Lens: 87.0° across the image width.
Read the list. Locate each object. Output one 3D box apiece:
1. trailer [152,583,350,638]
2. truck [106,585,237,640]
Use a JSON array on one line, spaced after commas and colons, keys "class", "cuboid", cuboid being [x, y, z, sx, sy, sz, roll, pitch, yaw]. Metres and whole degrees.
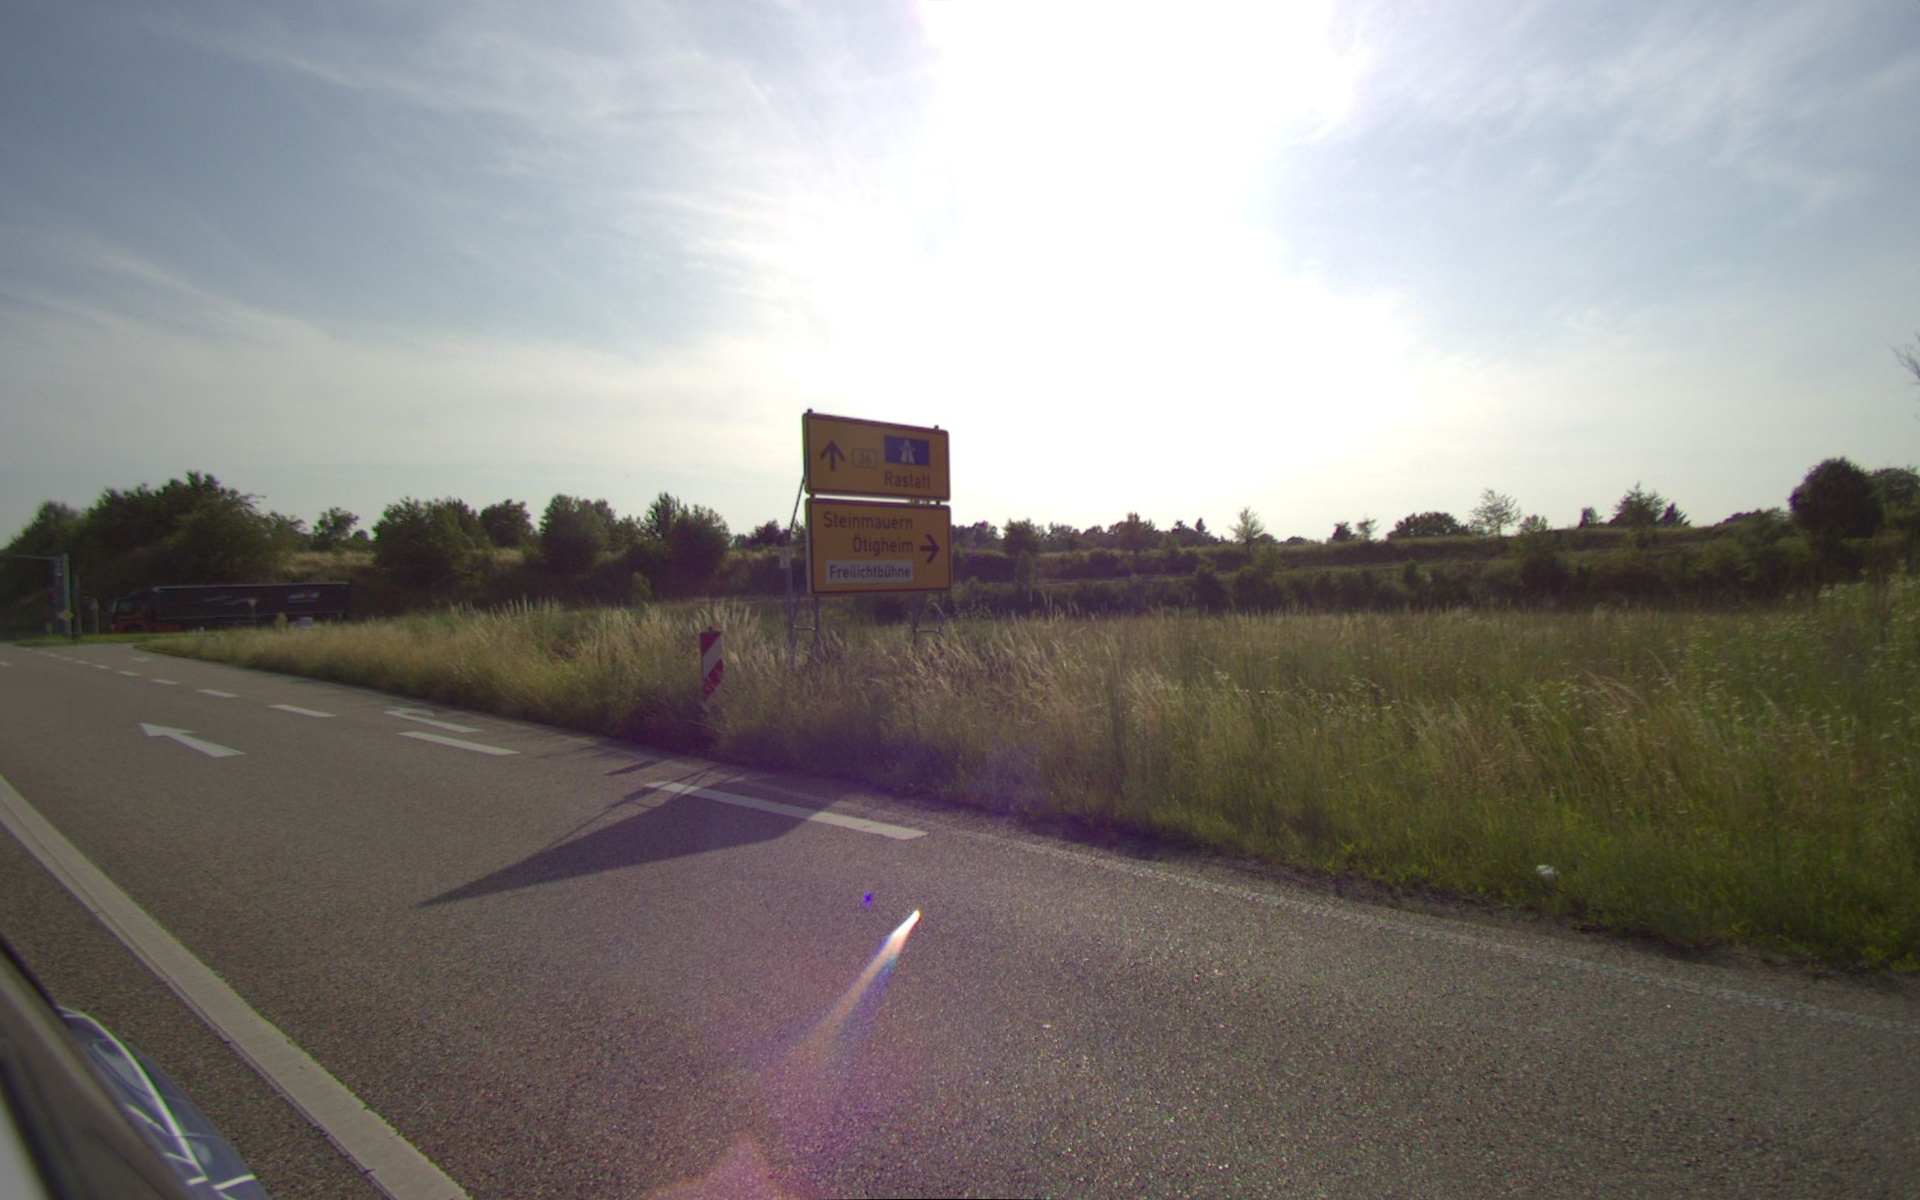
[{"class": "trailer", "cuboid": [-60.433, 0.789, 86.652, 13.580, 4.144, 3.566, -2, 1, -39]}, {"class": "truck", "cuboid": [-64.652, 0.946, 83.187, 8.267, 4.144, 3.566, -2, 1, -39]}]
